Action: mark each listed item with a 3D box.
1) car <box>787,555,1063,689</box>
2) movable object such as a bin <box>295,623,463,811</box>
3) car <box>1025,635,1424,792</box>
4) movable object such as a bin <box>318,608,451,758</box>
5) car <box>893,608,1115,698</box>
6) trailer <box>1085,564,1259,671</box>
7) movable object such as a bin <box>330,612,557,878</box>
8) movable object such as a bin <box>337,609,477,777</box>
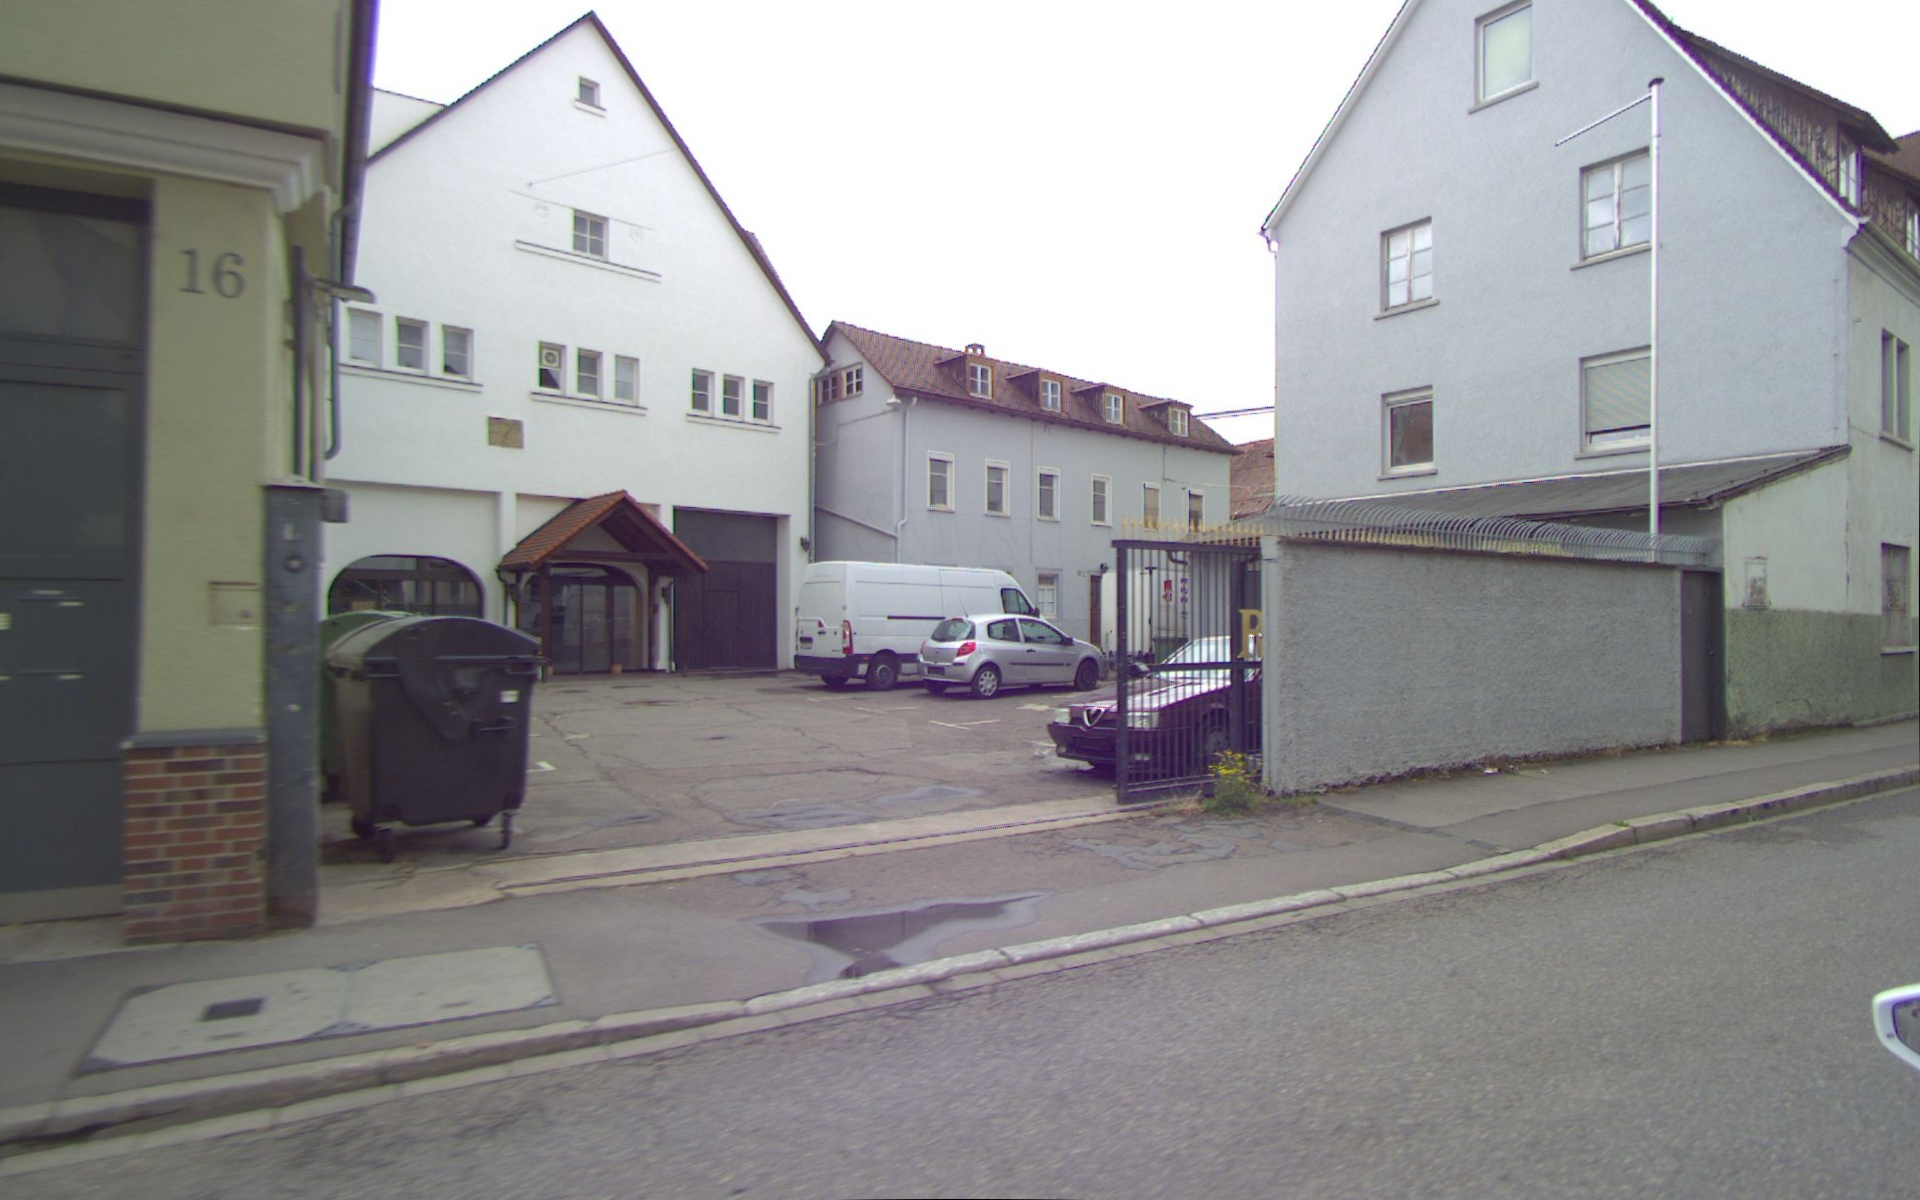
[{"bbox_3d":[-0.587,0.501,21.141,5.804,2.474,1.978,2,-2,-39],"label":"car"},{"bbox_3d":[-4.678,0.885,8.207,1.044,1.379,1.239,1,-1,-25],"label":"movable object such as a bin"},{"bbox_3d":[2.873,1.041,10.527,4.217,1.313,1.827,2,-2,-36],"label":"car"},{"bbox_3d":[-6.135,0.858,10.731,1.088,1.470,1.332,4,-2,-31],"label":"movable object such as a bin"},{"bbox_3d":[0.901,0.986,19.359,3.965,1.539,1.978,2,-2,-39],"label":"car"},{"bbox_3d":[5.040,0.444,23.703,3.965,2.307,1.978,2,-2,-38],"label":"trailer"},{"bbox_3d":[-3.385,0.835,6.539,1.090,1.496,1.297,1,-1,-38],"label":"movable object such as a bin"},{"bbox_3d":[-5.285,0.825,9.629,1.087,1.468,1.333,1,-1,-29],"label":"movable object such as a bin"}]
